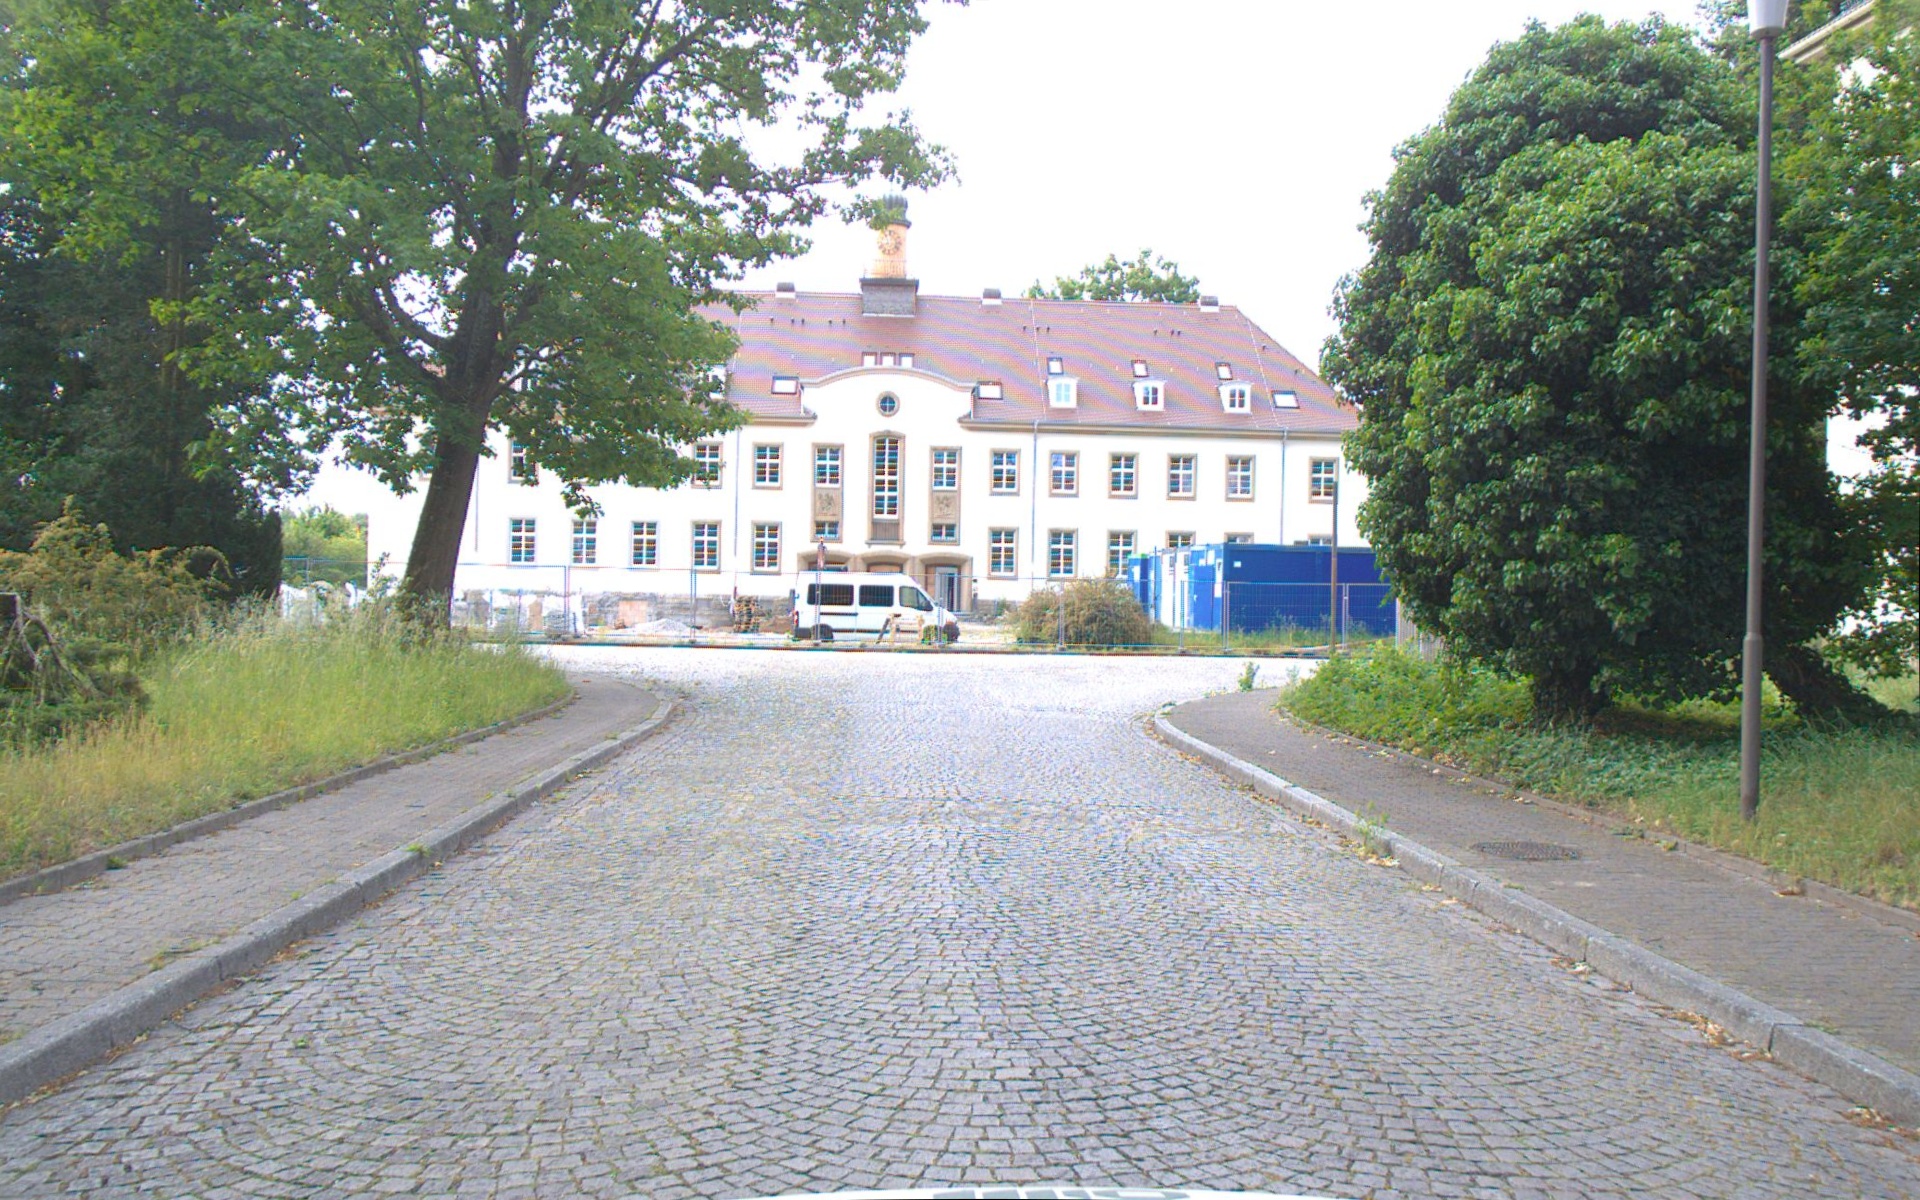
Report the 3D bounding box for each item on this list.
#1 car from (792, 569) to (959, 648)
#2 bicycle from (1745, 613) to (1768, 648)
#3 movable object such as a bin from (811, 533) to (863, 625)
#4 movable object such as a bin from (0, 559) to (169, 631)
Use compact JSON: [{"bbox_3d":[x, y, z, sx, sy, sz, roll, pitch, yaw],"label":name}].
[{"bbox_3d":[-2.668,0.264,52.494,5.157,2.385,1.909,1,0,-2],"label":"car"},{"bbox_3d":[27.220,1.037,56.533,0.502,1.187,1.805,1,0,20],"label":"bicycle"},{"bbox_3d":[-5.423,-0.883,72.307,1.955,3.837,5.310,1,0,-7],"label":"movable object such as a bin"},{"bbox_3d":[-32.907,-0.181,62.278,5.225,2.601,1.998,1,0,-5],"label":"movable object such as a bin"}]
